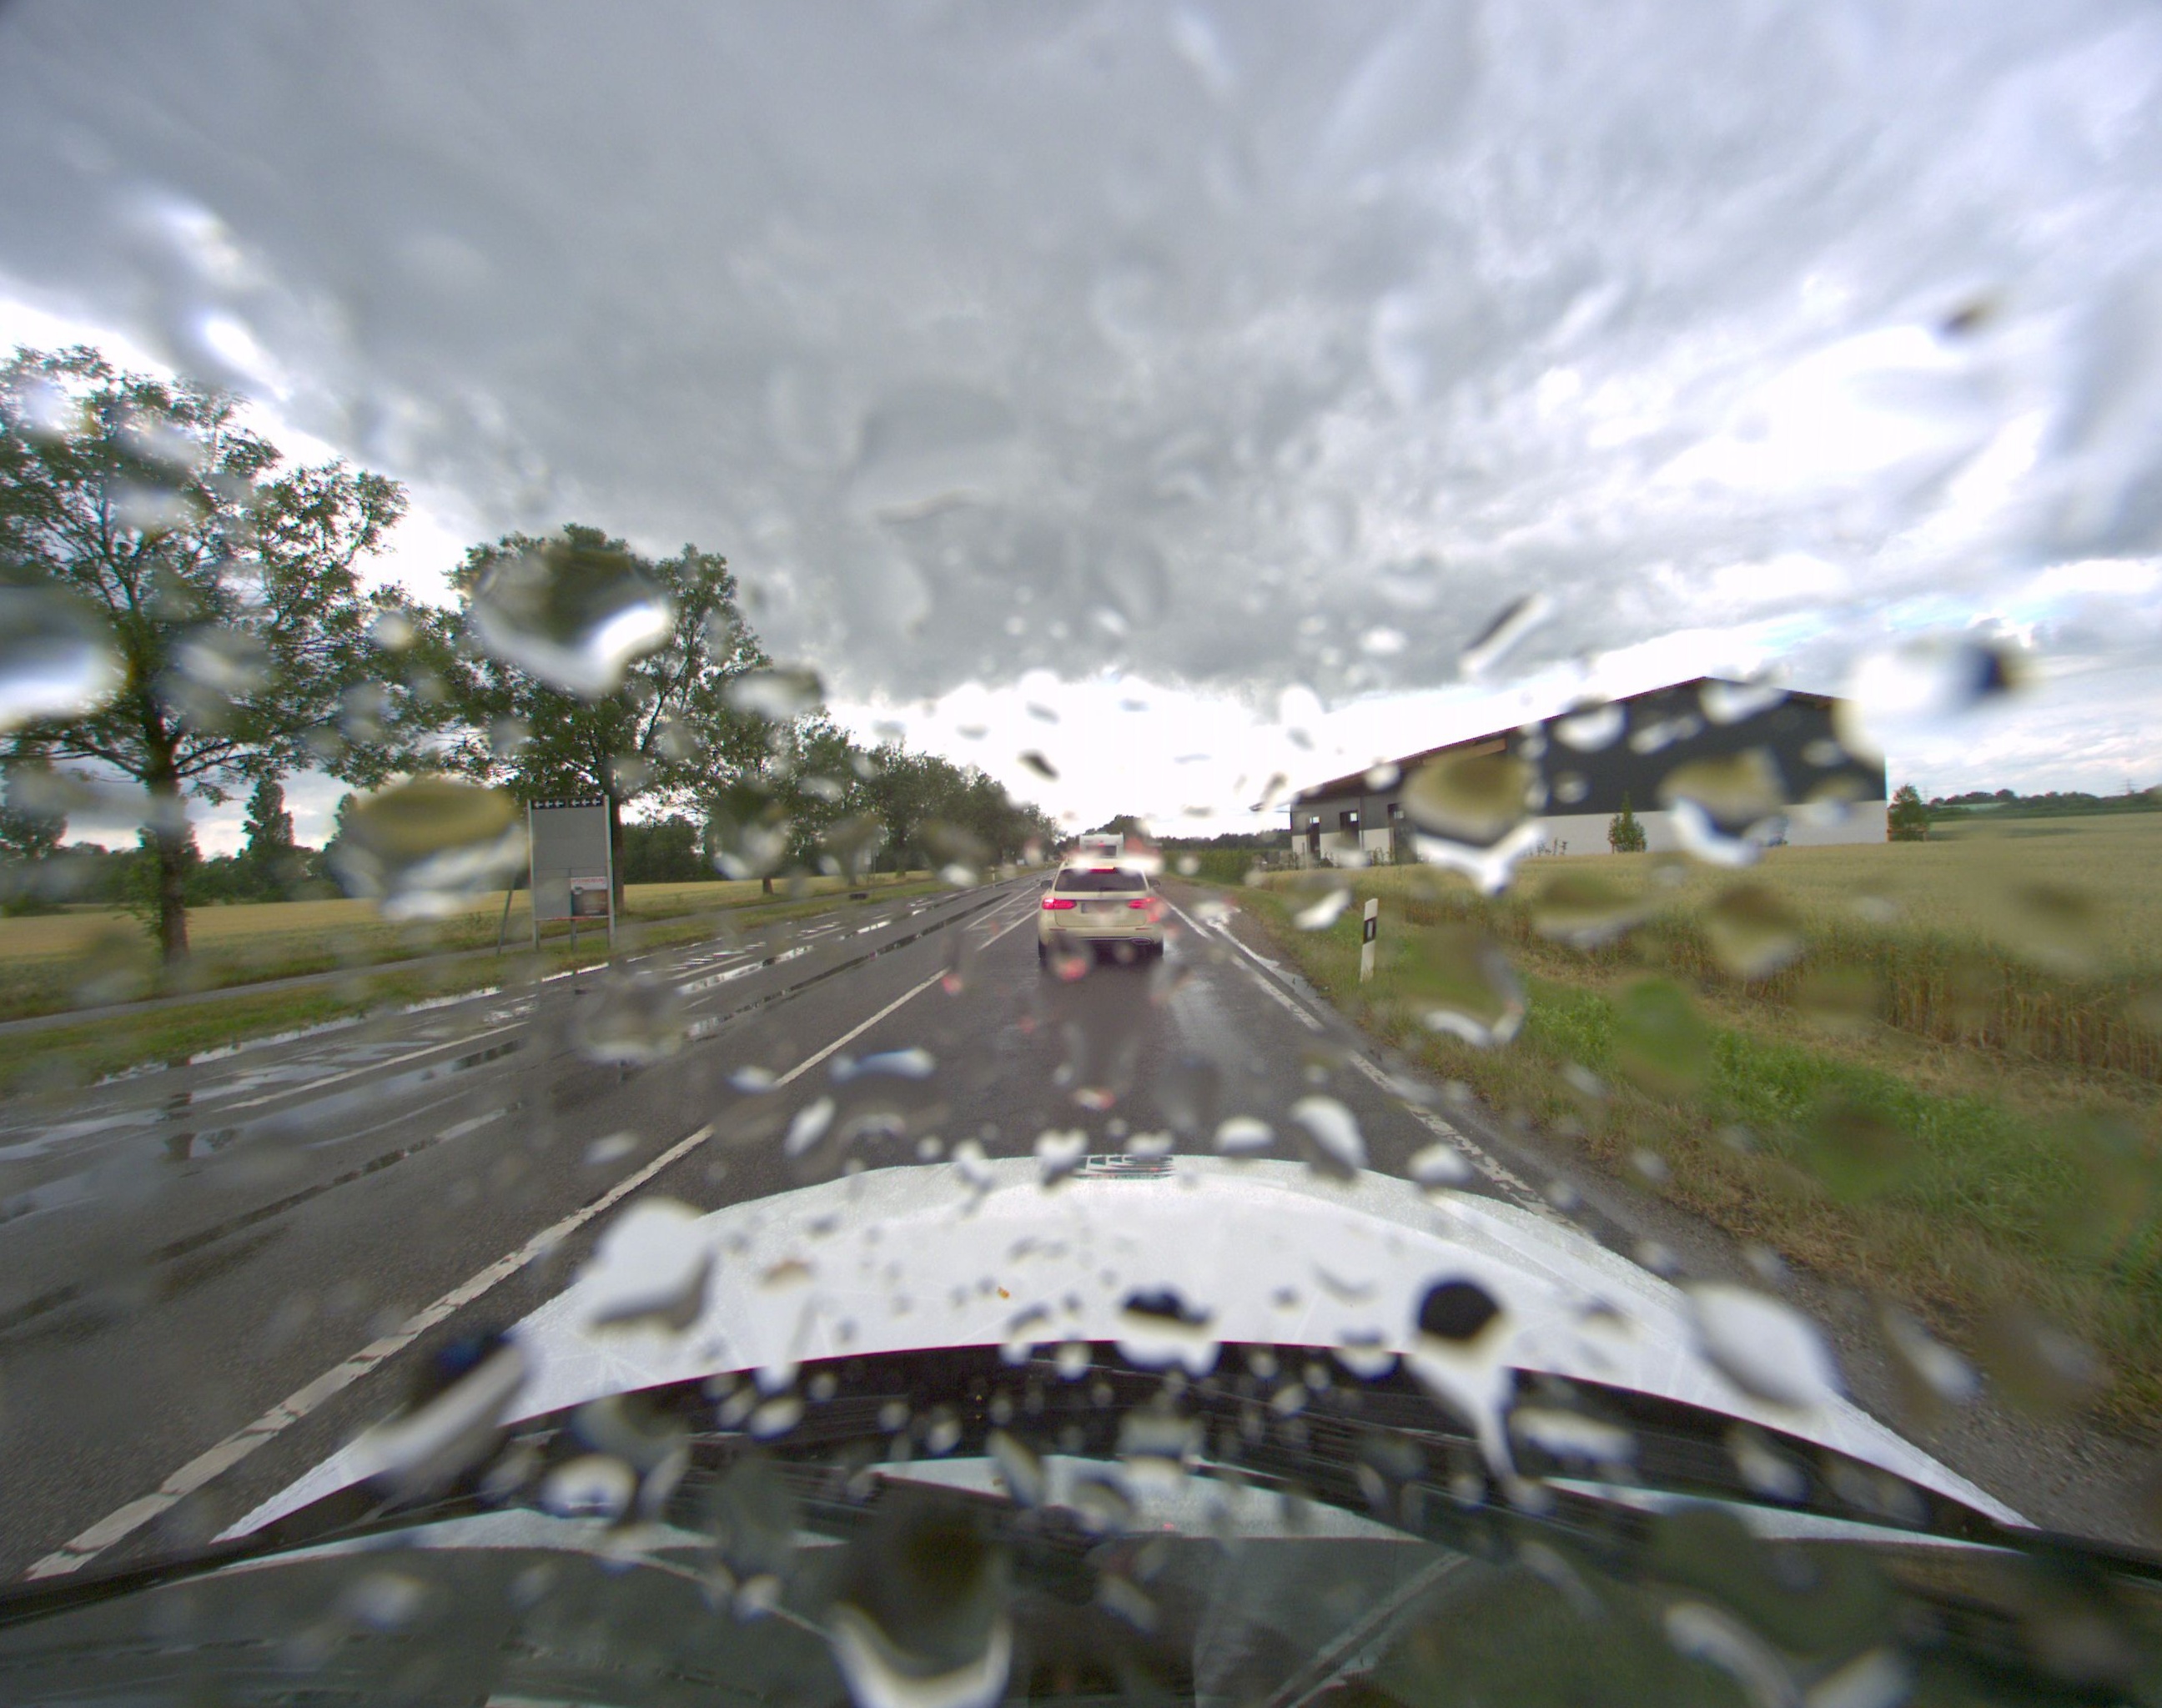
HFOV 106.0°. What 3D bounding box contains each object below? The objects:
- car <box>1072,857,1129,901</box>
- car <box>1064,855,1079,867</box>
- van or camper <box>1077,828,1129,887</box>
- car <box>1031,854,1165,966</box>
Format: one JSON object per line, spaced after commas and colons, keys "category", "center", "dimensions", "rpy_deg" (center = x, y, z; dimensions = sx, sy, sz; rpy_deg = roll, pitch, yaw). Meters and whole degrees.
{"category": "car", "center": [0.690, 0.843, 29.561], "dimensions": [1.888, 1.429, 3.928], "rpy_deg": [-1, 0, 1]}
{"category": "car", "center": [-1.422, 1.027, 124.224], "dimensions": [1.909, 1.632, 4.358], "rpy_deg": [-3, 0, 1]}
{"category": "van or camper", "center": [1.258, 0.186, 44.378], "dimensions": [2.487, 2.831, 5.937], "rpy_deg": [-3, 0, 2]}
{"category": "car", "center": [0.297, 0.761, 13.060], "dimensions": [1.790, 1.464, 4.032], "rpy_deg": [-1, 0, 2]}
